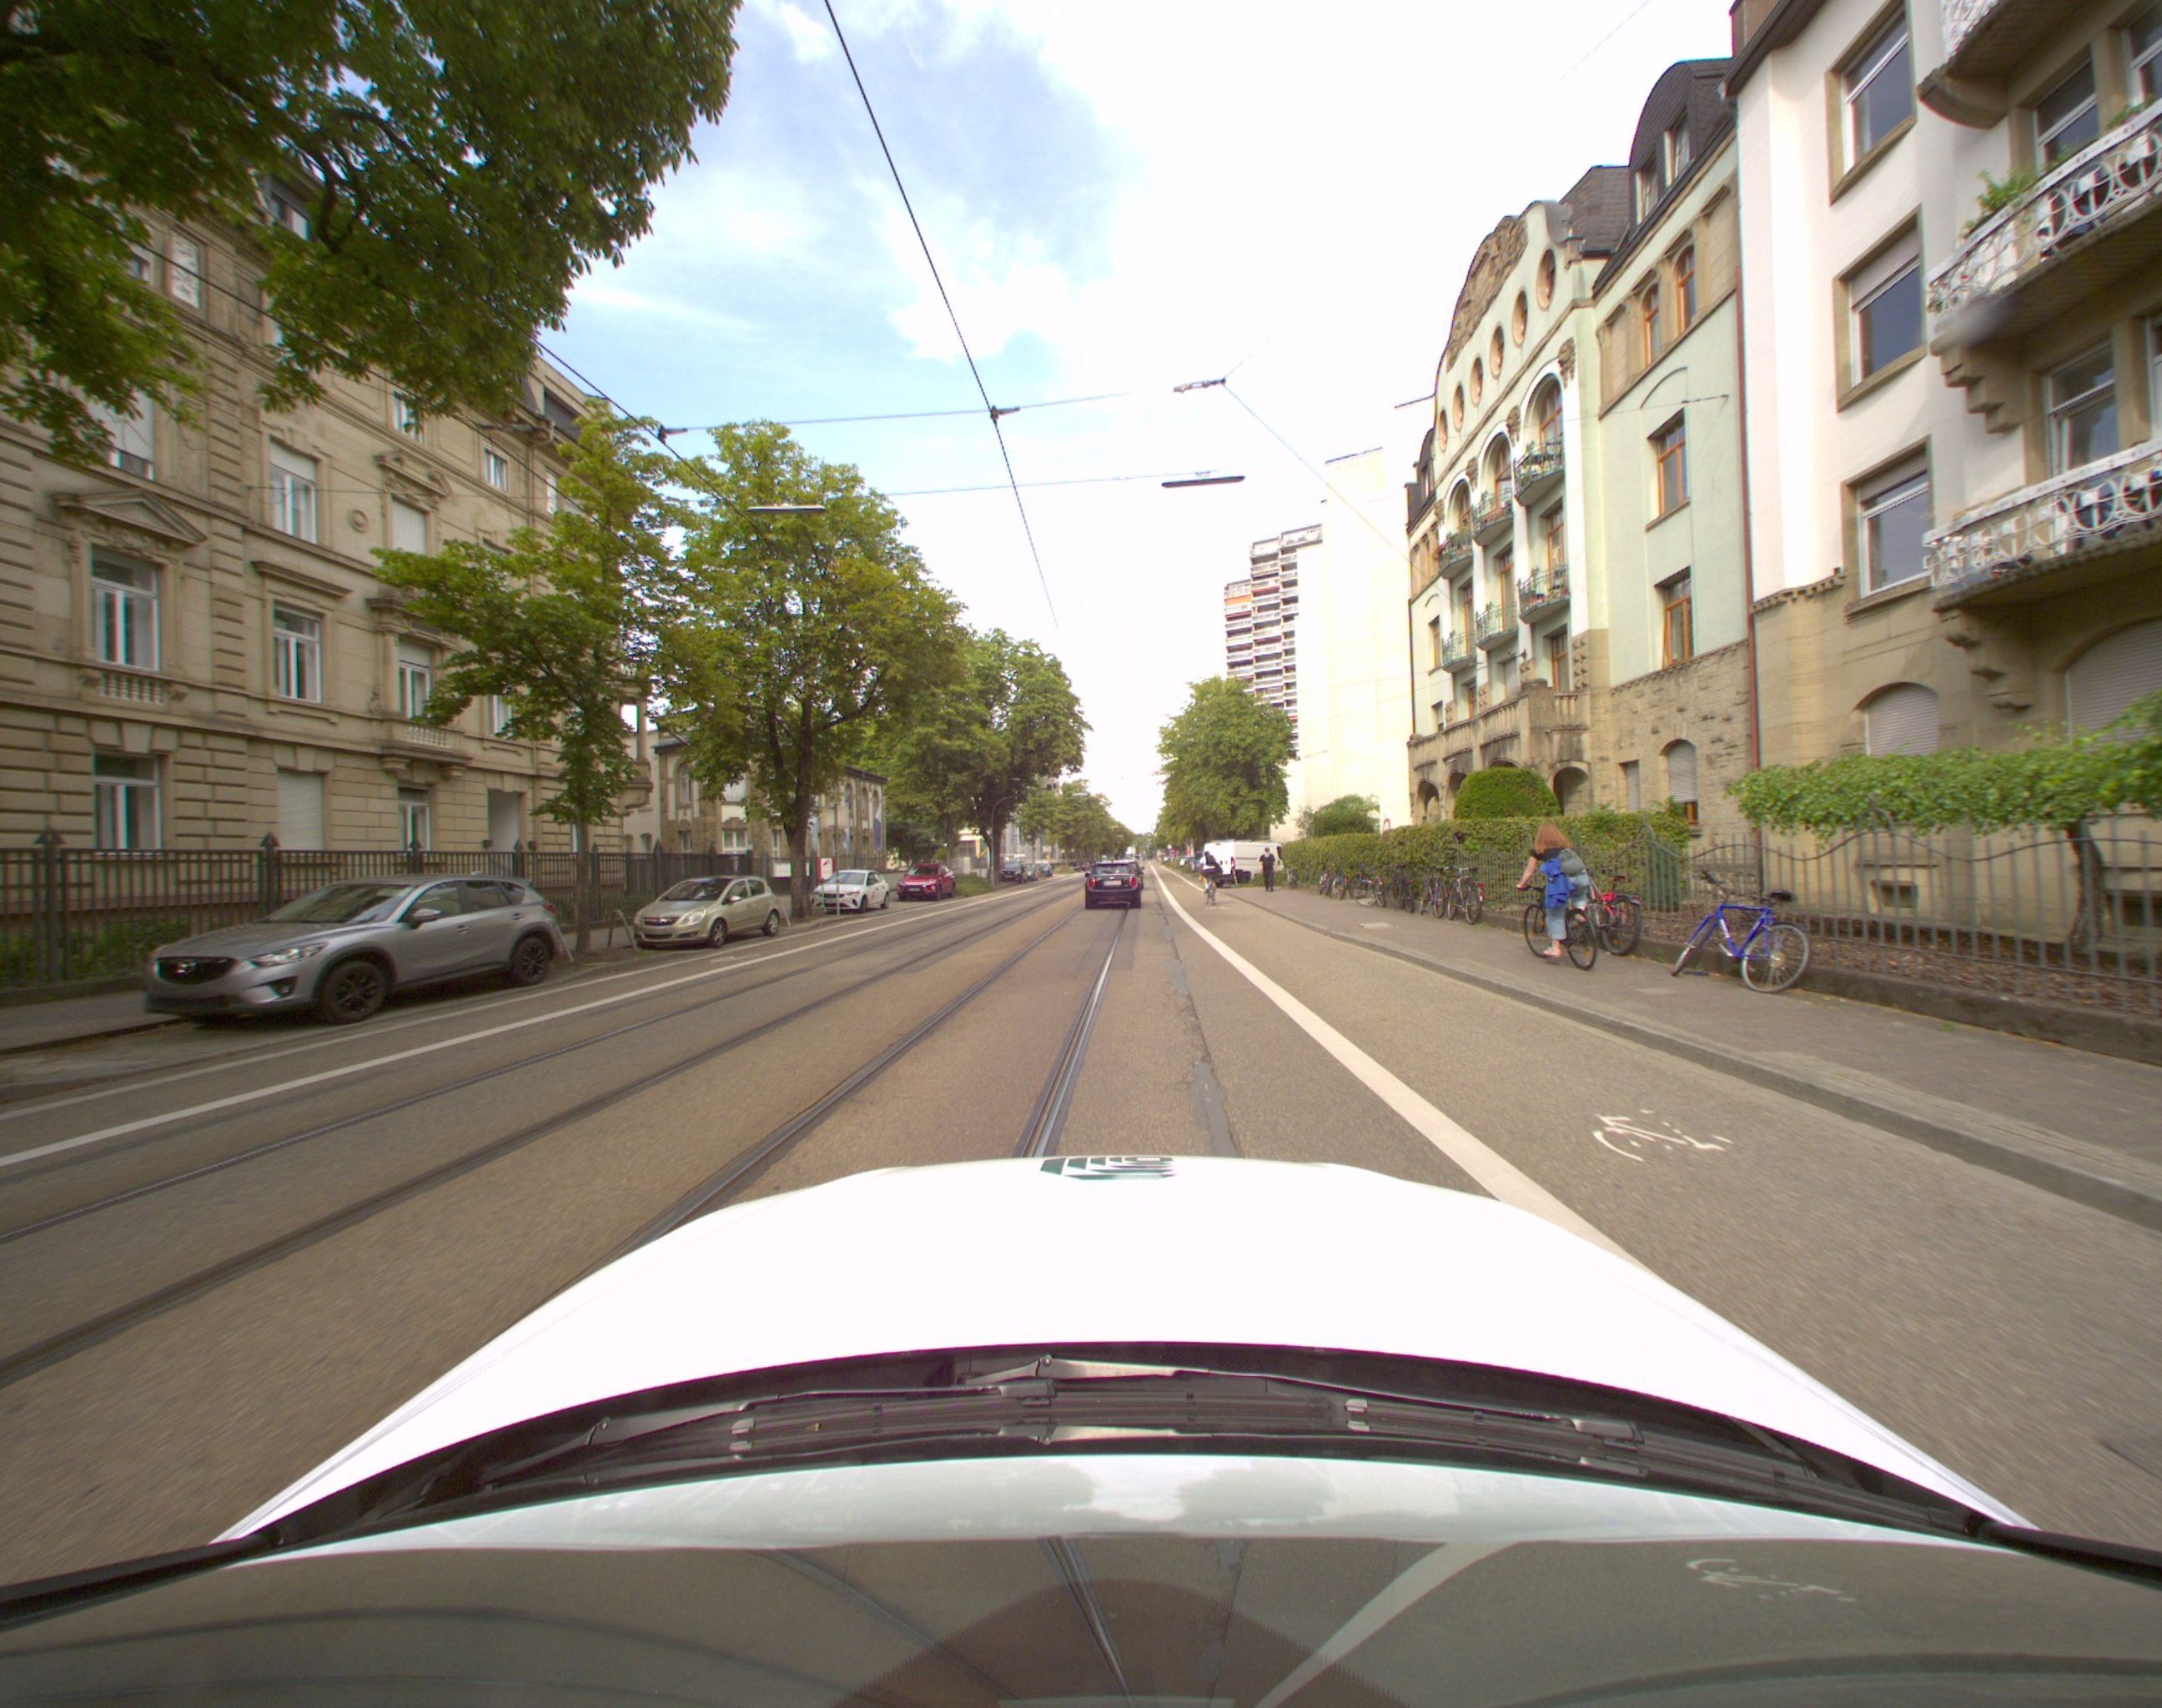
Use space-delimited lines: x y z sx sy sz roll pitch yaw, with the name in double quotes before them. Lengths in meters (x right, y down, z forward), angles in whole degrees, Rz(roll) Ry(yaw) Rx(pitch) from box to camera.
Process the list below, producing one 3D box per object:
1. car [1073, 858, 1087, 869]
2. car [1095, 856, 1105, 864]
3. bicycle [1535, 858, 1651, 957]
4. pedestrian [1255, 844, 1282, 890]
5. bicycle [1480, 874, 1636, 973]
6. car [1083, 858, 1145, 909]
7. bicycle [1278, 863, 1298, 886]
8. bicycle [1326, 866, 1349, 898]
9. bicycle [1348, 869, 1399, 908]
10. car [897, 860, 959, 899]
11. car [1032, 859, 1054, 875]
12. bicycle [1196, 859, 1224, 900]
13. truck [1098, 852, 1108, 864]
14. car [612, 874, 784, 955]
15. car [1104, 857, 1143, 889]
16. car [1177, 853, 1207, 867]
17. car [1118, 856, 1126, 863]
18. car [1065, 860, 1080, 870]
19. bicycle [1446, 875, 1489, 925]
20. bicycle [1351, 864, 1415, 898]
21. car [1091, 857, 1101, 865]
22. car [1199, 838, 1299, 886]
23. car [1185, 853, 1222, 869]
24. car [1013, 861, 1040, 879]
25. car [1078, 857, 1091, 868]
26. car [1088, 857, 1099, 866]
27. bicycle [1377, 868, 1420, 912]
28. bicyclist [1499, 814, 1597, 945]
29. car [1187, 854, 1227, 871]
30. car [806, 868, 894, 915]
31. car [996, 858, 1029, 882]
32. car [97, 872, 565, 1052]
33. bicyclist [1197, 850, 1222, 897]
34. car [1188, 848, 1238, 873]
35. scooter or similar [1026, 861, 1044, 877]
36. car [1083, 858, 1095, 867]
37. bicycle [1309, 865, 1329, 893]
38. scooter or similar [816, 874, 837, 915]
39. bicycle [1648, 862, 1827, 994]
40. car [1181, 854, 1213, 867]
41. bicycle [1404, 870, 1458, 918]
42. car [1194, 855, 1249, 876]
"car" -0.137 1.474 122.776 1.794 1.583 4.035 -3 -1 4
"car" 4.023 1.346 172.877 1.794 1.583 4.035 -3 -1 4
"bicycle" 6.625 0.639 10.651 0.390 1.142 1.923 -3 0 5
"pedestrian" 7.427 0.520 32.237 0.782 1.733 0.897 -4 0 4
"bicycle" 5.650 0.777 9.814 0.686 0.962 2.037 -4 0 2
"car" 1.048 0.869 25.708 1.786 1.423 4.002 -1 0 2
"bicycle" 8.399 0.823 33.025 0.384 0.907 1.843 -3 -1 3
"bicycle" 7.796 0.832 24.778 0.383 0.907 1.669 -3 -1 9
"bicycle" 7.290 0.839 20.365 0.485 0.907 1.661 -3 -1 -7
"car" -6.925 1.115 37.243 1.714 1.655 4.546 0 0 3
"car" -3.679 1.233 78.499 1.686 1.487 3.681 -1 0 4
"bicycle" 4.145 0.786 26.274 0.654 1.249 2.126 -1 0 3
"truck" 5.072 0.916 185.949 2.062 2.470 4.904 -3 -1 4
"car" -8.238 1.235 17.973 1.593 1.468 4.084 -1 0 4
"car" 2.019 0.908 39.697 1.787 1.470 4.001 0 0 1
"car" 13.828 0.723 101.388 3.461 1.573 1.543 -1 0 -35
"car" 10.001 1.318 196.216 1.827 1.448 4.558 -2 0 4
"car" -1.147 1.515 112.242 1.794 1.374 4.035 -3 -1 4
"bicycle" 7.032 0.825 14.854 0.276 0.852 1.199 -3 -1 5
"bicycle" 8.835 0.776 23.874 1.653 0.907 0.487 -3 -1 2
"car" 3.009 1.356 161.499 1.794 1.583 4.035 -3 -1 4
"car" 8.611 0.383 41.545 4.983 2.290 2.357 -1 -1 -39
"car" 12.326 0.743 81.779 3.759 1.522 1.621 -1 -1 -41
"car" -4.437 1.271 66.667 1.686 1.427 3.872 -1 0 4
"car" 0.618 1.390 131.627 1.794 1.583 4.035 -3 -1 4
"car" 2.327 1.357 152.555 1.794 1.583 4.035 -3 -1 4
"bicycle" 7.181 0.794 18.454 0.483 0.907 1.668 -3 -1 7
"bicyclist" 5.620 0.297 9.841 0.645 1.470 0.801 -4 0 2
"car" 11.632 0.783 74.946 3.850 1.460 1.620 -1 -1 -43
"car" -7.994 1.256 28.532 1.714 1.424 4.027 0 0 3
"car" -4.982 1.167 59.798 1.748 1.647 4.056 -1 0 4
"car" -8.948 1.142 10.381 1.703 1.673 4.362 -1 0 4
"bicyclist" 4.124 0.606 26.146 0.654 1.463 1.179 -1 0 3
"car" 11.164 0.510 68.579 4.298 2.015 1.810 -1 -1 -41
"scooter or similar" -4.198 1.346 74.305 1.436 1.344 0.701 -3 0 6
"car" 1.391 1.486 142.345 1.794 1.583 4.035 -3 -1 4
"bicycle" 8.109 0.827 27.758 0.383 0.907 1.669 -3 -1 9
"scooter or similar" -8.052 1.263 25.751 0.562 1.223 1.315 -1 0 -19
"bicycle" 6.311 0.653 7.948 0.390 1.103 1.761 -3 0 5
"car" 13.611 0.758 95.280 3.550 1.442 1.606 -1 0 -35
"bicycle" 7.137 0.797 16.666 0.483 0.907 1.667 -3 -1 5
"car" 10.191 0.815 58.820 3.995 1.432 1.670 -1 -1 -38
